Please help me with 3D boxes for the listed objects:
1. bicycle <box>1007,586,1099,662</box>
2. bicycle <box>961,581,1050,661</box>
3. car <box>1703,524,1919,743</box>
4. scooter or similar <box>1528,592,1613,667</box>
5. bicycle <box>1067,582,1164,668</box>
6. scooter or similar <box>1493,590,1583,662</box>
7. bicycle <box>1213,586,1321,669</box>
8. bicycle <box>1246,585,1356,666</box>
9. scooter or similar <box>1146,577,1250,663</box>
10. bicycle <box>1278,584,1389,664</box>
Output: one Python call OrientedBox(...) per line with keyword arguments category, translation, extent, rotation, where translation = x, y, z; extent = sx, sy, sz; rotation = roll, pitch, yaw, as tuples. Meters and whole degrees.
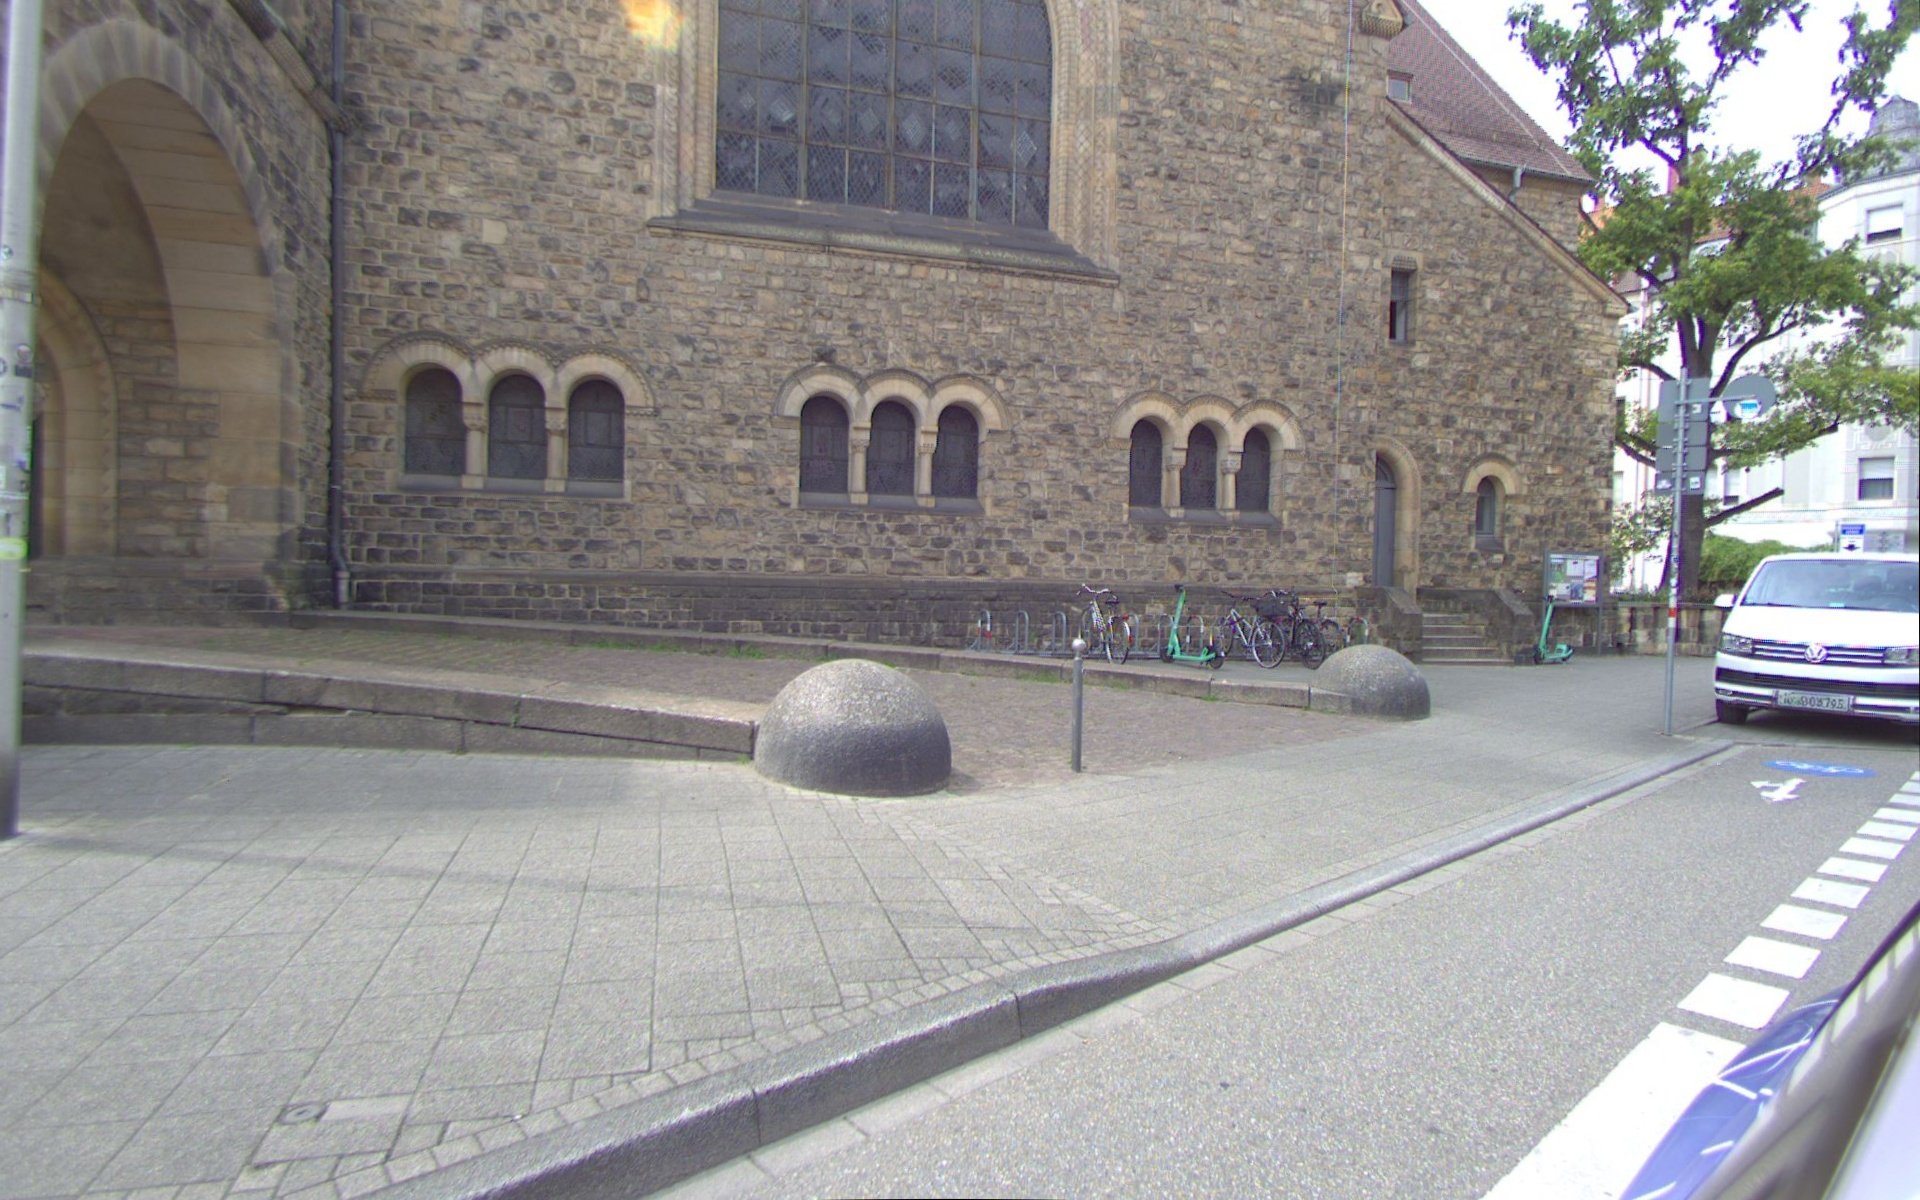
OrientedBox(category="bicycle", translation=(1.296, 0.315, 14.406), extent=(0.534, 0.969, 1.786), rotation=(1, 1, -21))
OrientedBox(category="bicycle", translation=(0.610, 0.266, 14.195), extent=(0.534, 0.969, 1.787), rotation=(1, 3, -21))
OrientedBox(category="car", translation=(10.440, 0.270, 11.637), extent=(5.035, 2.054, 2.018), rotation=(0, 3, -42))
OrientedBox(category="scooter or similar", translation=(10.425, 0.500, 17.281), extent=(1.413, 1.222, 0.547), rotation=(1, 1, -27))
OrientedBox(category="bicycle", translation=(2.208, 0.330, 14.619), extent=(0.534, 1.125, 1.786), rotation=(1, 1, -21))
OrientedBox(category="scooter or similar", translation=(10.253, 0.459, 17.943), extent=(1.450, 1.222, 0.547), rotation=(1, 1, -21))
OrientedBox(category="bicycle", translation=(4.575, 0.381, 15.207), extent=(0.534, 1.125, 1.786), rotation=(1, 1, -21))
OrientedBox(category="bicycle", translation=(5.147, 0.361, 15.406), extent=(0.534, 1.125, 1.779), rotation=(1, 1, -21))
OrientedBox(category="scooter or similar", translation=(3.456, 0.263, 14.857), extent=(0.534, 1.154, 1.786), rotation=(1, 1, -21))
OrientedBox(category="bicycle", translation=(5.735, 0.341, 15.651), extent=(0.534, 1.125, 1.786), rotation=(1, 1, -21))
